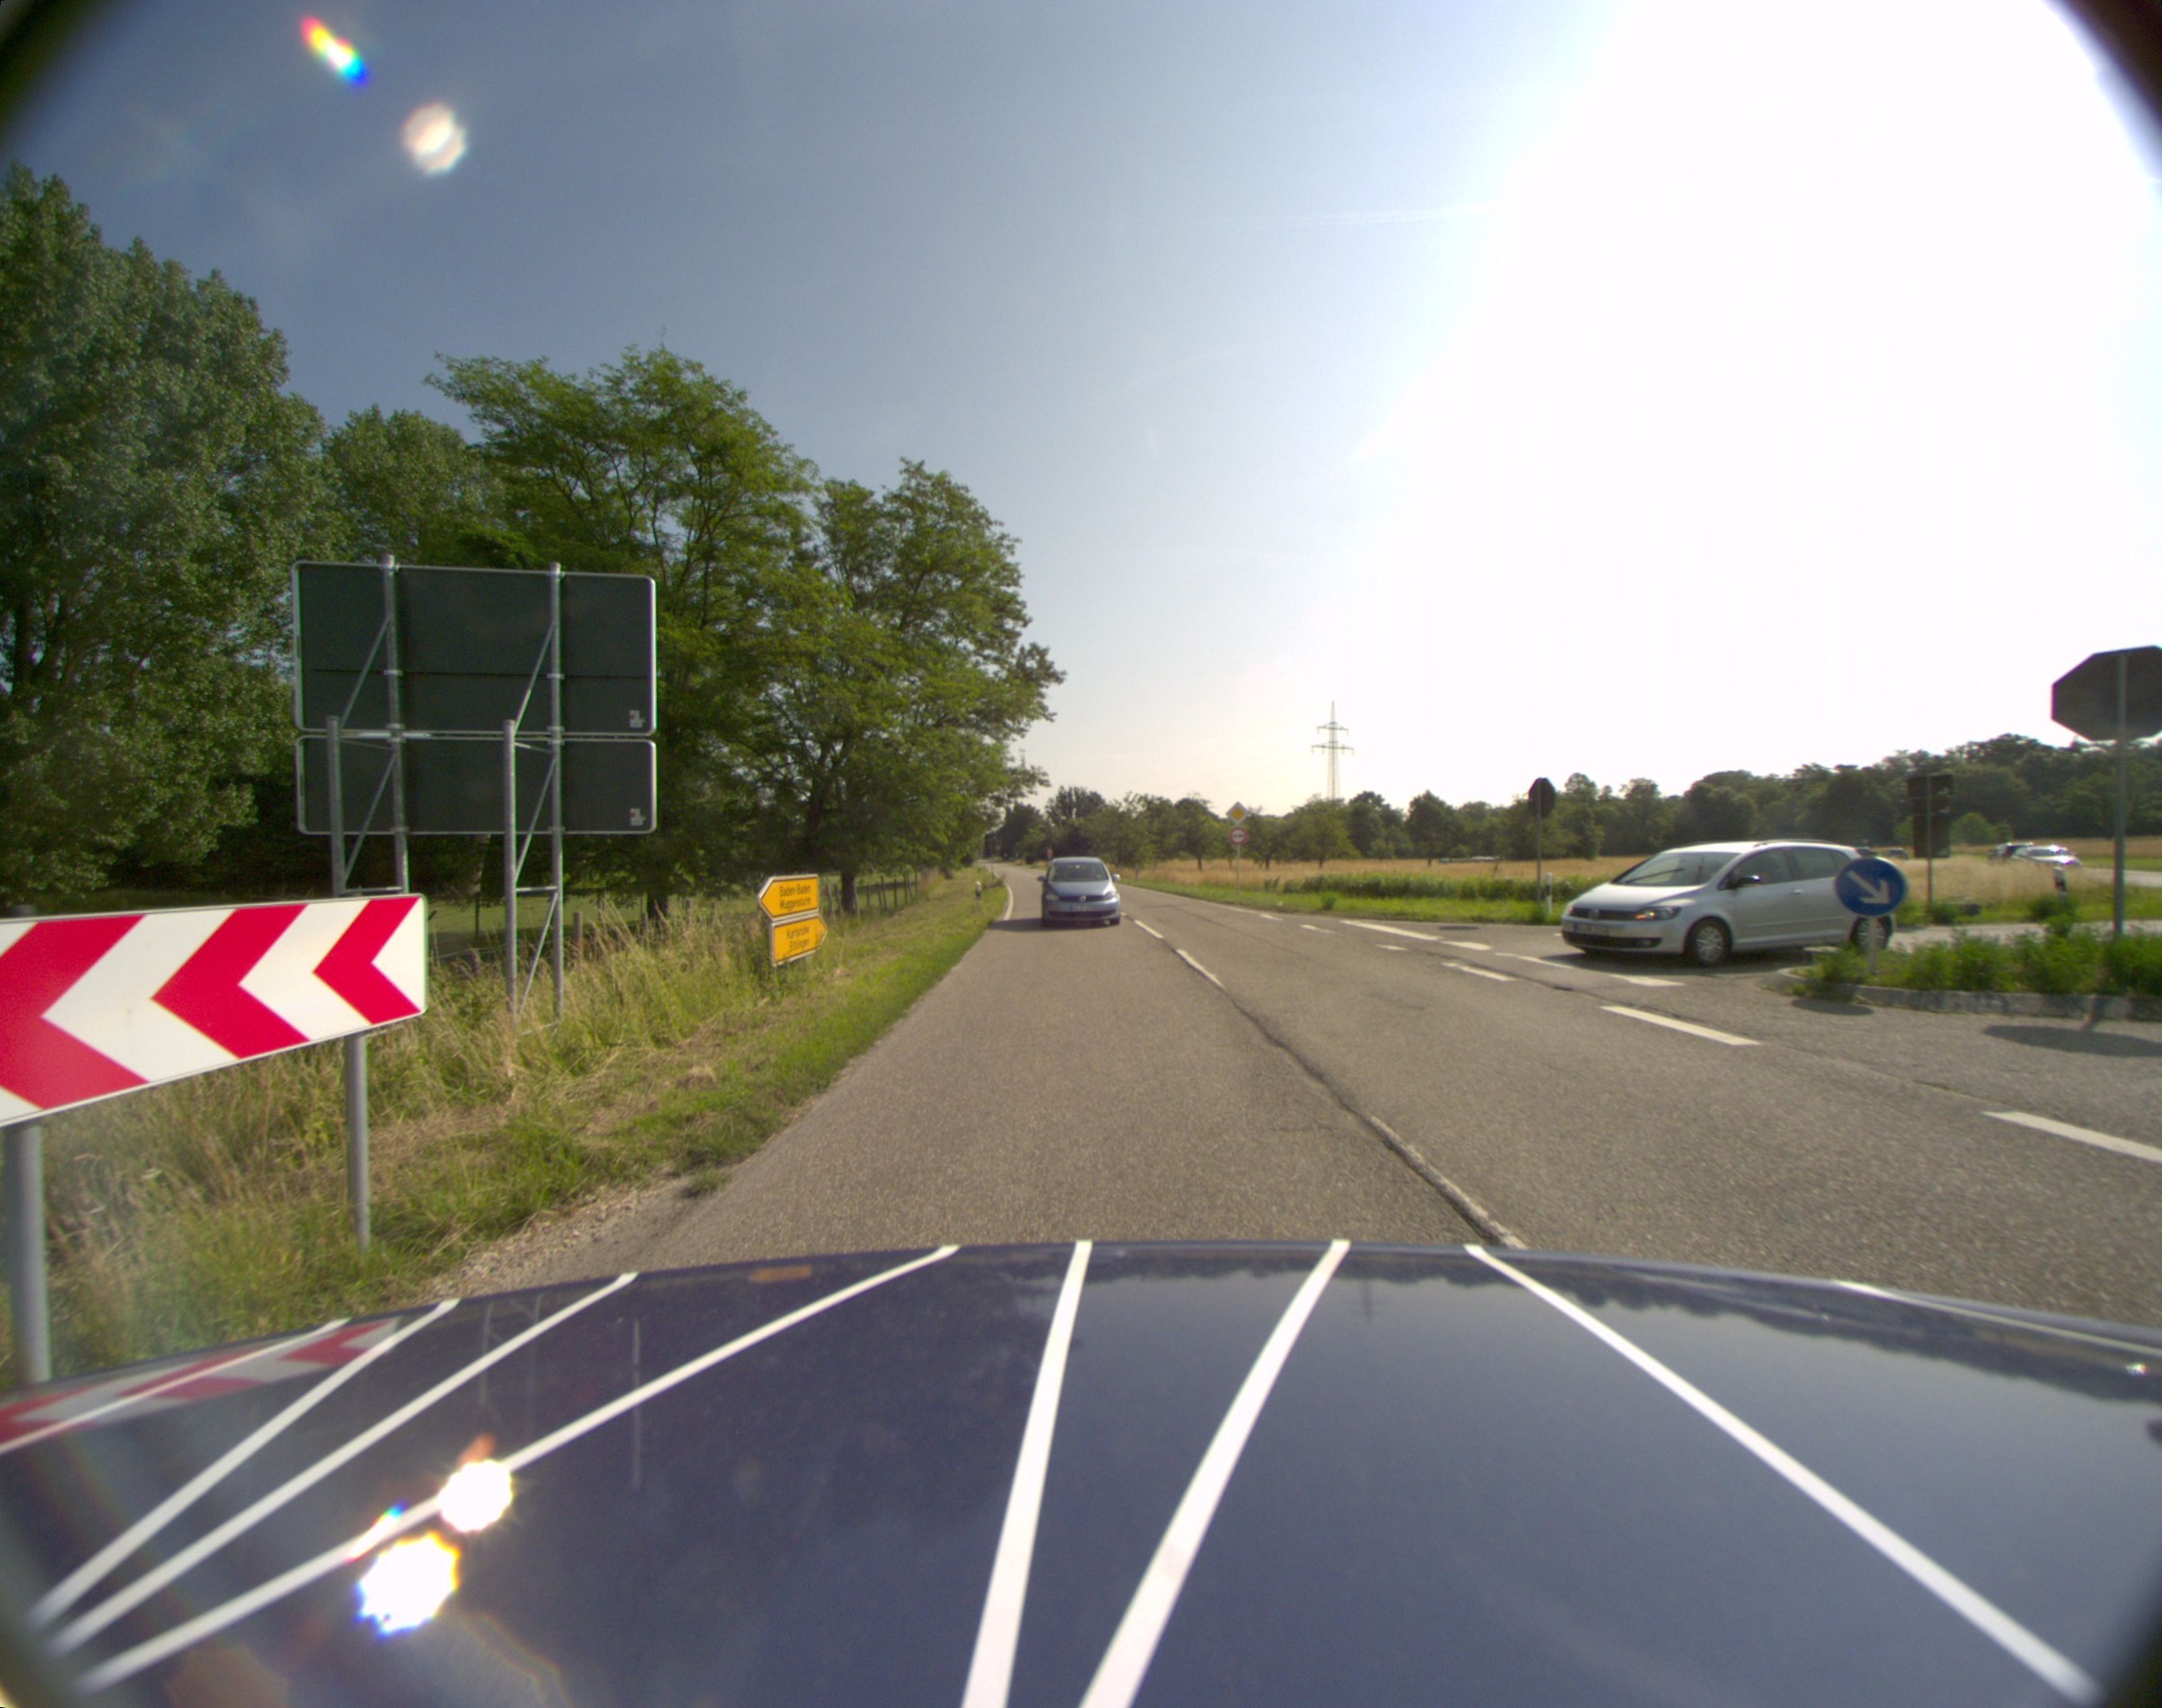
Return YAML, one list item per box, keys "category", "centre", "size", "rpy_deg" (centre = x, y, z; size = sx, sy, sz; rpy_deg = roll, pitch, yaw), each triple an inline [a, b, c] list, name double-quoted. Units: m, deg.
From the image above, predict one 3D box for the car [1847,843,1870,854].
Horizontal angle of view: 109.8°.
- category: "car"
  centre: [111.457, -0.803, 108.963]
  size: [1.813, 1.543, 4.008]
  rpy_deg: [-2, 0, 39]

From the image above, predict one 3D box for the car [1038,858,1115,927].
- category: "car"
  centre: [-0.090, 0.901, 19.558]
  size: [1.718, 1.495, 4.094]
  rpy_deg: [-2, 0, 0]

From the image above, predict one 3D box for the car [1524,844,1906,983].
- category: "car"
  centre: [8.521, 0.710, 10.377]
  size: [3.910, 1.570, 1.998]
  rpy_deg: [-1, 0, -12]

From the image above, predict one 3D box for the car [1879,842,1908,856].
- category: "car"
  centre: [96.232, -0.613, 90.005]
  size: [1.813, 1.543, 4.008]
  rpy_deg: [-2, 0, 39]

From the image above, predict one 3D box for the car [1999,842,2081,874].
- category: "car"
  centre: [50.422, 0.176, 40.034]
  size: [1.813, 1.543, 4.008]
  rpy_deg: [-2, 0, 39]
